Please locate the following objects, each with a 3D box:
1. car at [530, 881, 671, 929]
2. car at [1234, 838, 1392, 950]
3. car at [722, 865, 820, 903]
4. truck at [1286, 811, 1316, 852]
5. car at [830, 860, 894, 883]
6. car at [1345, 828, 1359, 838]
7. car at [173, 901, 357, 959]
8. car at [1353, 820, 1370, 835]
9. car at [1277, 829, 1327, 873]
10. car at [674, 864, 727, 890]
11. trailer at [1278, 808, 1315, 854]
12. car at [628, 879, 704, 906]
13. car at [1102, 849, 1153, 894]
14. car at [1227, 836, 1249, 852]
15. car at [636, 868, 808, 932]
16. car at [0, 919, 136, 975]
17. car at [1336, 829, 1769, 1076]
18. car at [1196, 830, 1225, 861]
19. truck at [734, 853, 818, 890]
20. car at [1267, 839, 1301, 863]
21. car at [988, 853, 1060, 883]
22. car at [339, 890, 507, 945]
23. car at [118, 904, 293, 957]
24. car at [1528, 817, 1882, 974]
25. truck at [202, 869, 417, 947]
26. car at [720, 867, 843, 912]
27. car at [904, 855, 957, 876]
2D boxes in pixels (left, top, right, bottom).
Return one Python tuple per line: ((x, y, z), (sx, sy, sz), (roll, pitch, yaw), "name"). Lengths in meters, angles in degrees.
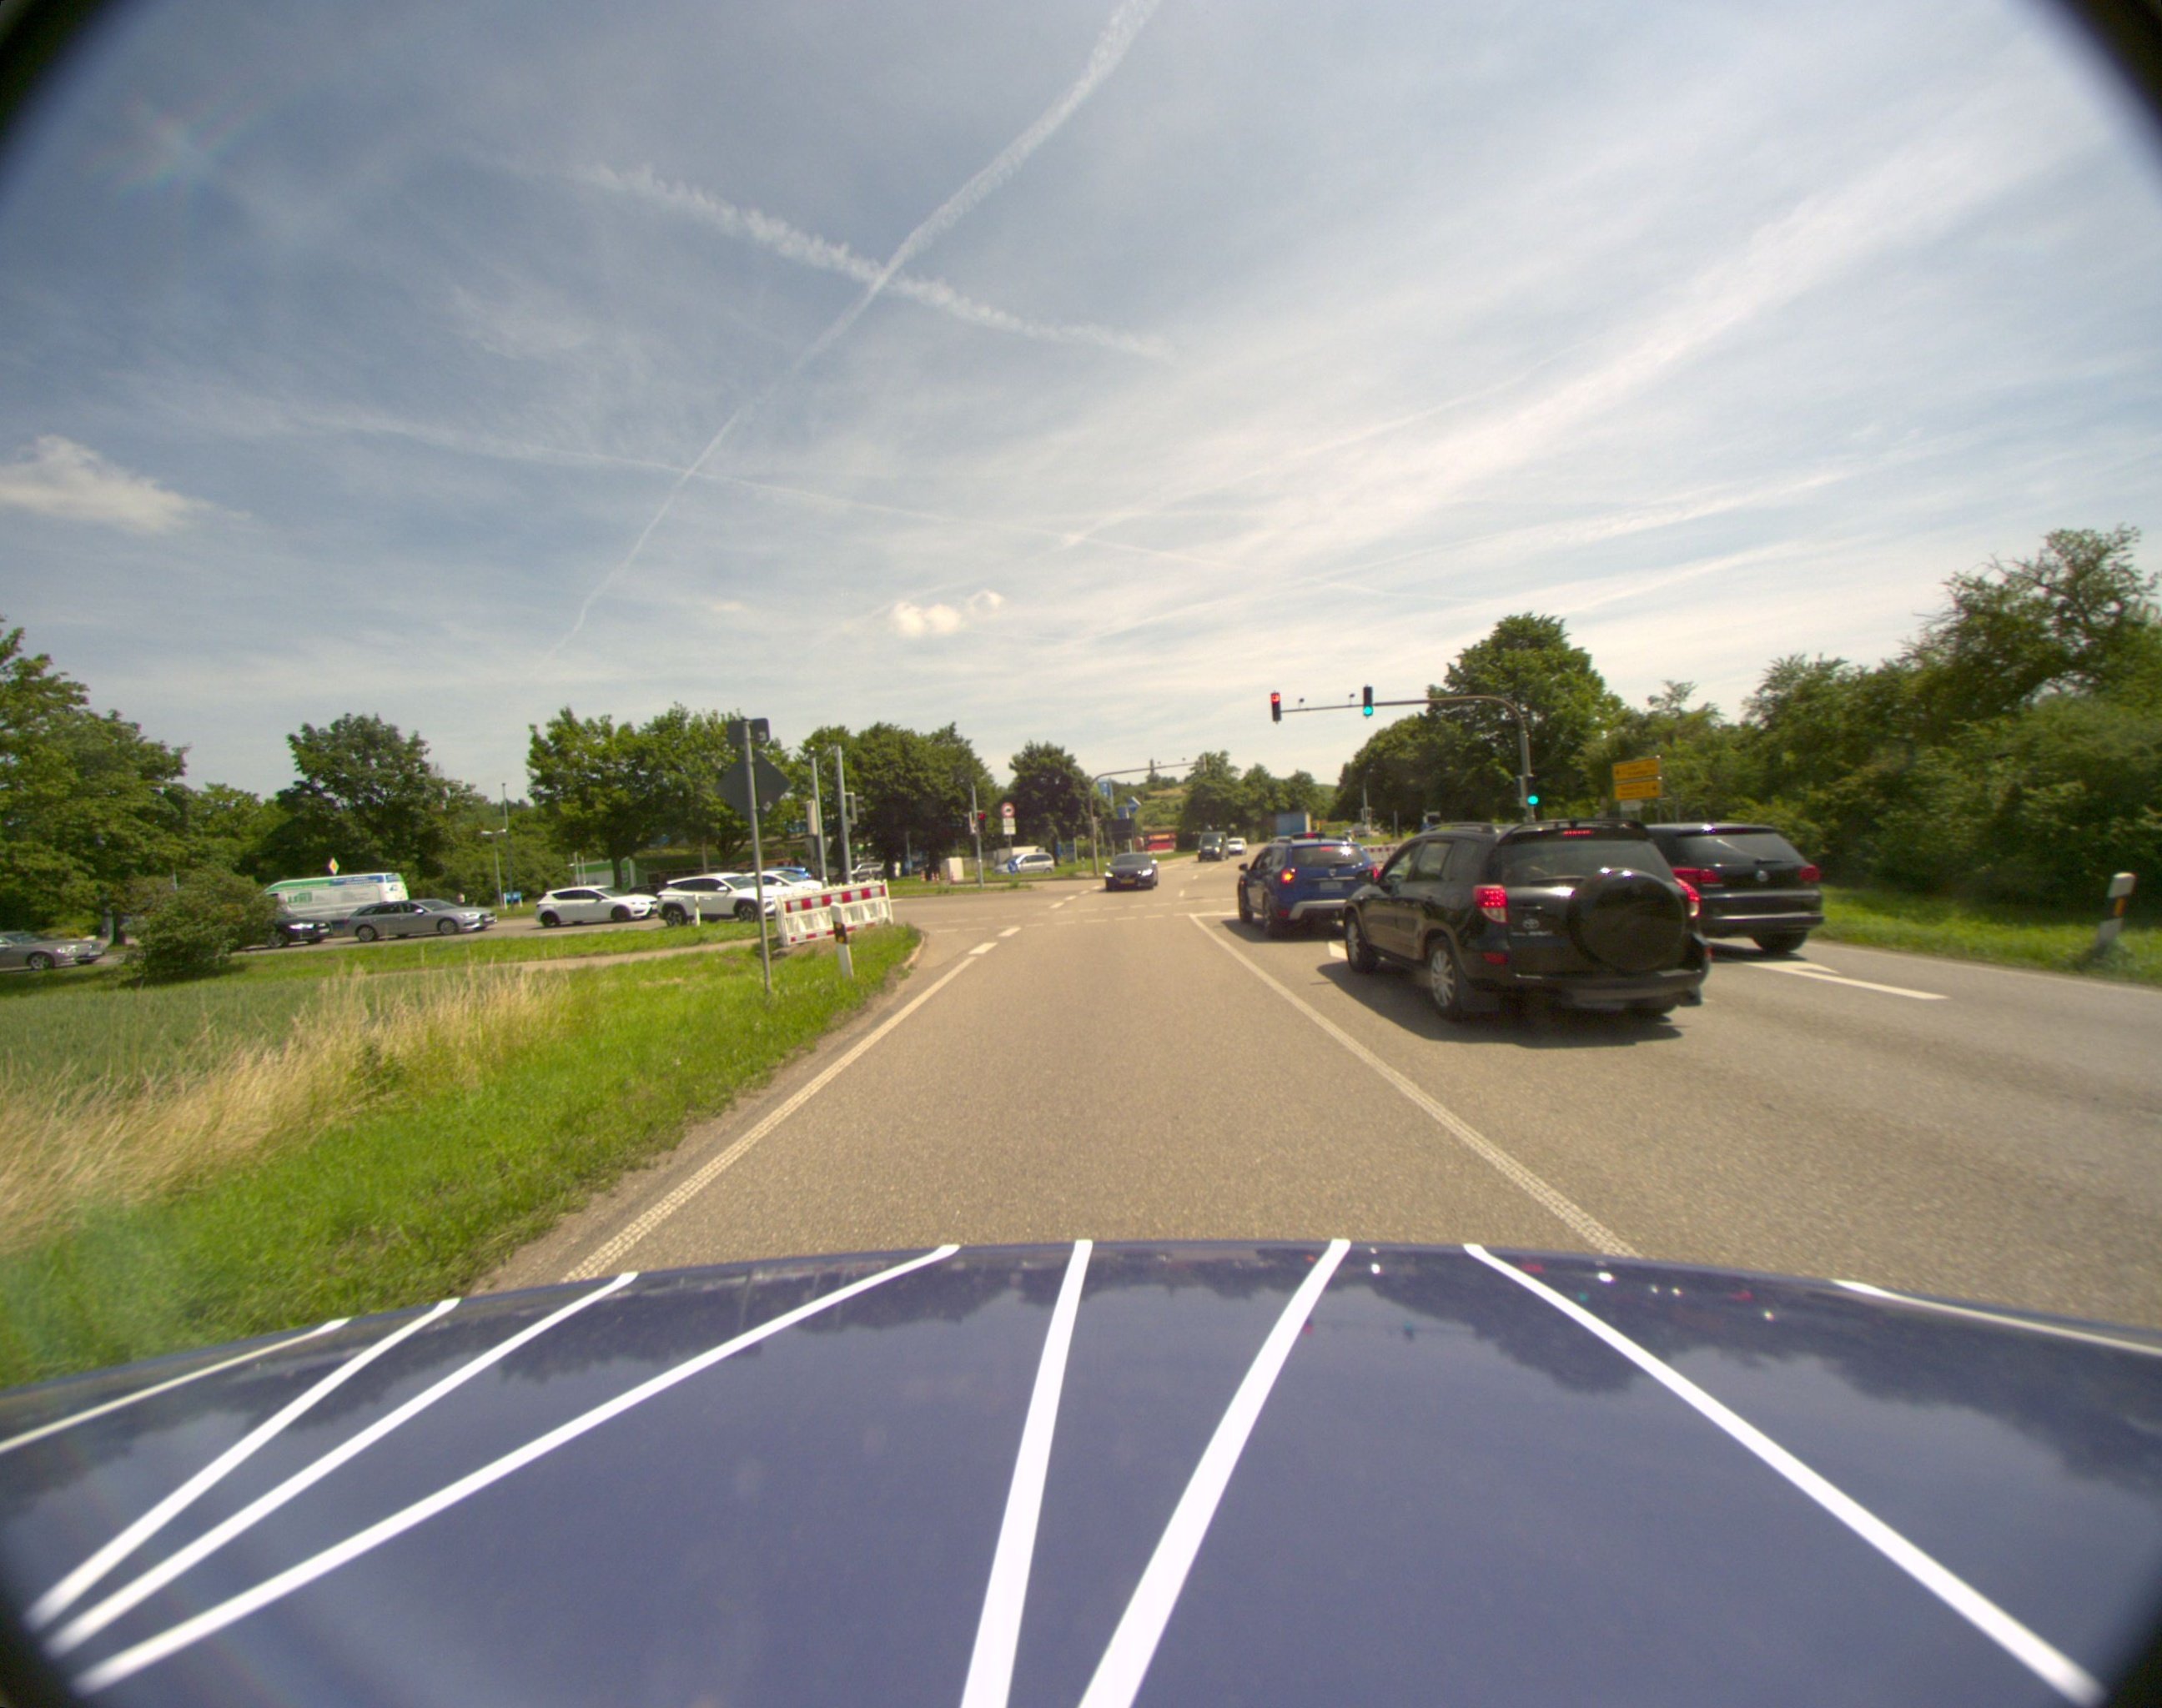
((-18.202, 1.922, 28.900), (4.103, 1.411, 1.800), (-3, 2, 0), "car")
((3.947, 0.570, 13.618), (1.775, 1.649, 4.000), (-2, 1, 3), "car")
((-16.164, 1.523, 39.672), (4.394, 1.549, 1.780), (-4, 1, -31), "car")
((23.359, -2.338, 80.466), (2.569, 4.007, 6.568), (-2, 1, 19), "truck")
((-19.121, 1.493, 66.551), (2.033, 1.594, 4.948), (-1, 3, 40), "car")
((53.863, -4.189, 150.963), (1.806, 1.722, 4.007), (-3, 0, 33), "car")
((-30.824, 2.839, 28.832), (4.560, 1.502, 1.799), (-5, 2, -6), "car")
((47.977, -4.537, 129.934), (2.053, 2.438, 5.276), (-1, 1, 26), "car")
((11.208, -0.217, 38.848), (1.997, 1.994, 5.167), (-3, 1, 11), "car")
((-34.363, 2.088, 68.720), (1.708, 2.002, 3.869), (-2, 2, 34), "car")
((21.168, -2.179, 74.227), (2.569, 4.006, 13.611), (-2, 1, 19), "trailer")
((-28.702, 2.634, 52.586), (4.327, 1.355, 1.755), (-5, 3, -37), "car")
((1.880, 0.629, 29.618), (1.782, 1.484, 4.158), (-3, 1, 5), "car")
((16.883, -1.105, 81.718), (1.781, 1.484, 4.161), (-3, 2, 18), "car")
((-11.585, 1.476, 24.653), (4.633, 1.599, 1.999), (-4, 3, 13), "car")
((-36.892, 3.341, 26.514), (4.564, 1.502, 1.798), (-5, 2, -17), "car")
((3.913, 0.648, 7.232), (1.775, 1.649, 4.000), (-2, 1, 3), "car")
((11.403, -0.794, 66.544), (1.978, 2.505, 4.160), (-3, 2, 15), "car")
((-25.942, 1.451, 64.797), (2.257, 2.603, 6.159), (-3, 1, 39), "truck")
((13.757, -0.214, 51.652), (1.774, 1.487, 4.002), (-2, 1, 8), "car")
((-3.649, 0.886, 49.540), (1.862, 1.682, 4.535), (-1, 2, 43), "car")
((-24.997, 2.396, 28.996), (4.560, 1.502, 1.800), (-5, 2, -3), "car")
((-37.962, 3.270, 33.111), (4.530, 1.682, 1.863), (-4, 2, -22), "car")
((8.021, 0.428, 10.360), (1.997, 1.686, 4.002), (-2, 1, 10), "car")
((-32.661, 2.204, 32.482), (5.949, 2.722, 2.069), (-4, 2, -23), "truck")
((-11.395, 1.332, 28.981), (3.965, 1.411, 1.829), (-3, 2, 17), "car")
((-14.367, 1.066, 72.543), (1.994, 1.612, 4.637), (-1, 3, 40), "car")
